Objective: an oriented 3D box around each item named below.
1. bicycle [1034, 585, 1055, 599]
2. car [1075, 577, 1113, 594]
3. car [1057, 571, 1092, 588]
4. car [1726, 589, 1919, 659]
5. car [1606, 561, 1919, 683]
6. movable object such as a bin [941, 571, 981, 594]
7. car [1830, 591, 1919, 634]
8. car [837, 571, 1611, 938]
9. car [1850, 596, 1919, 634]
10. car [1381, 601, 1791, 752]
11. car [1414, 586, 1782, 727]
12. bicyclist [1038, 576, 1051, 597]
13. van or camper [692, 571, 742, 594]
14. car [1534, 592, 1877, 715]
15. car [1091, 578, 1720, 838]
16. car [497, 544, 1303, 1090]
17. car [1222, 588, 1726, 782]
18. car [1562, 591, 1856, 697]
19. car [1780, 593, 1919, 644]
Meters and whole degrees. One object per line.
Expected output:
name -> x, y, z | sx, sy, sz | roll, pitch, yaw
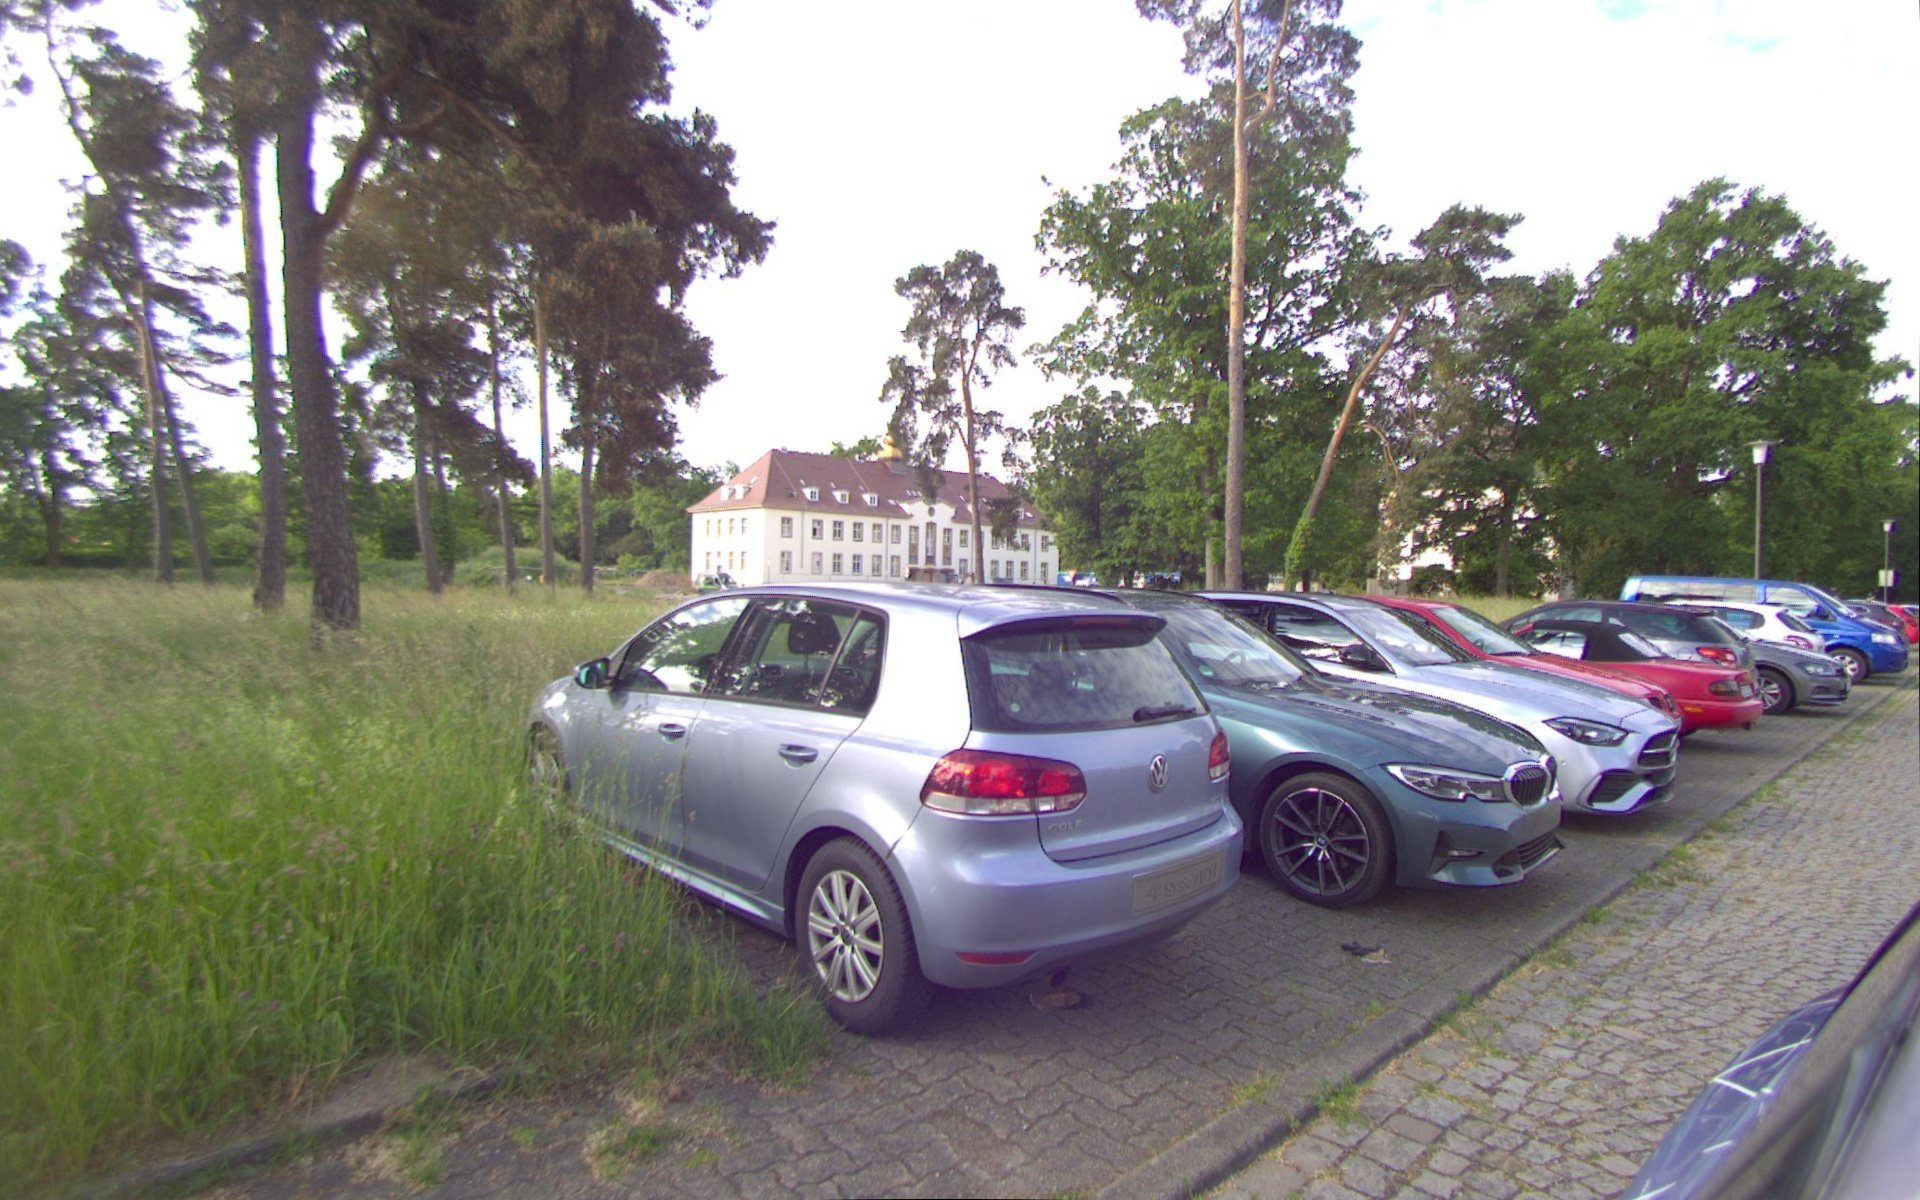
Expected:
bicycle -> 7.214, -0.663, 86.206 | 1.945, 1.223, 0.638 | 0, 1, -40
car -> 14.027, -1.497, 105.925 | 3.867, 1.704, 1.847 | 0, 3, -40
car -> 14.129, -2.560, 124.697 | 3.927, 2.039, 2.219 | 0, 1, -38
car -> 22.654, 0.577, 26.615 | 3.829, 1.621, 1.556 | 2, 1, 44
car -> 16.466, 0.330, 20.795 | 2.025, 2.047, 4.952 | 0, 3, -41
movable object such as a bin -> 0.179, -2.119, 123.776 | 1.993, 2.802, 5.125 | 2, 1, 42
car -> 37.593, 0.494, 40.581 | 1.552, 1.638, 3.838 | 0, 1, -38
car -> 1.314, 0.599, 6.465 | 1.778, 1.502, 4.515 | 0, 1, -45
car -> 41.113, 0.660, 43.661 | 1.643, 1.548, 3.838 | 0, 1, -38
car -> 6.778, 0.725, 11.226 | 1.580, 1.303, 3.552 | 2, 0, -41
car -> 8.282, 0.624, 13.383 | 1.577, 1.522, 3.833 | 0, 1, -43
bicyclist -> 7.211, -1.137, 86.193 | 0.829, 1.756, 0.667 | 0, -1, -40
van or camper -> -25.311, -1.855, 105.369 | 6.058, 2.251, 1.971 | 2, 1, 41
car -> 10.763, 0.673, 14.823 | 1.614, 1.484, 3.779 | 0, 1, -41
car -> 3.310, 0.614, 8.218 | 1.737, 1.446, 4.330 | 0, 2, -43
car -> -0.600, 0.543, 4.707 | 1.615, 1.489, 3.845 | 0, 1, -45
car -> 4.845, 0.643, 10.018 | 1.690, 1.441, 4.114 | 0, 1, -42
car -> 12.562, 0.651, 17.155 | 1.553, 1.517, 3.760 | 0, 1, -40
car -> 29.937, 0.597, 33.816 | 3.829, 1.544, 1.556 | 2, 1, 44
